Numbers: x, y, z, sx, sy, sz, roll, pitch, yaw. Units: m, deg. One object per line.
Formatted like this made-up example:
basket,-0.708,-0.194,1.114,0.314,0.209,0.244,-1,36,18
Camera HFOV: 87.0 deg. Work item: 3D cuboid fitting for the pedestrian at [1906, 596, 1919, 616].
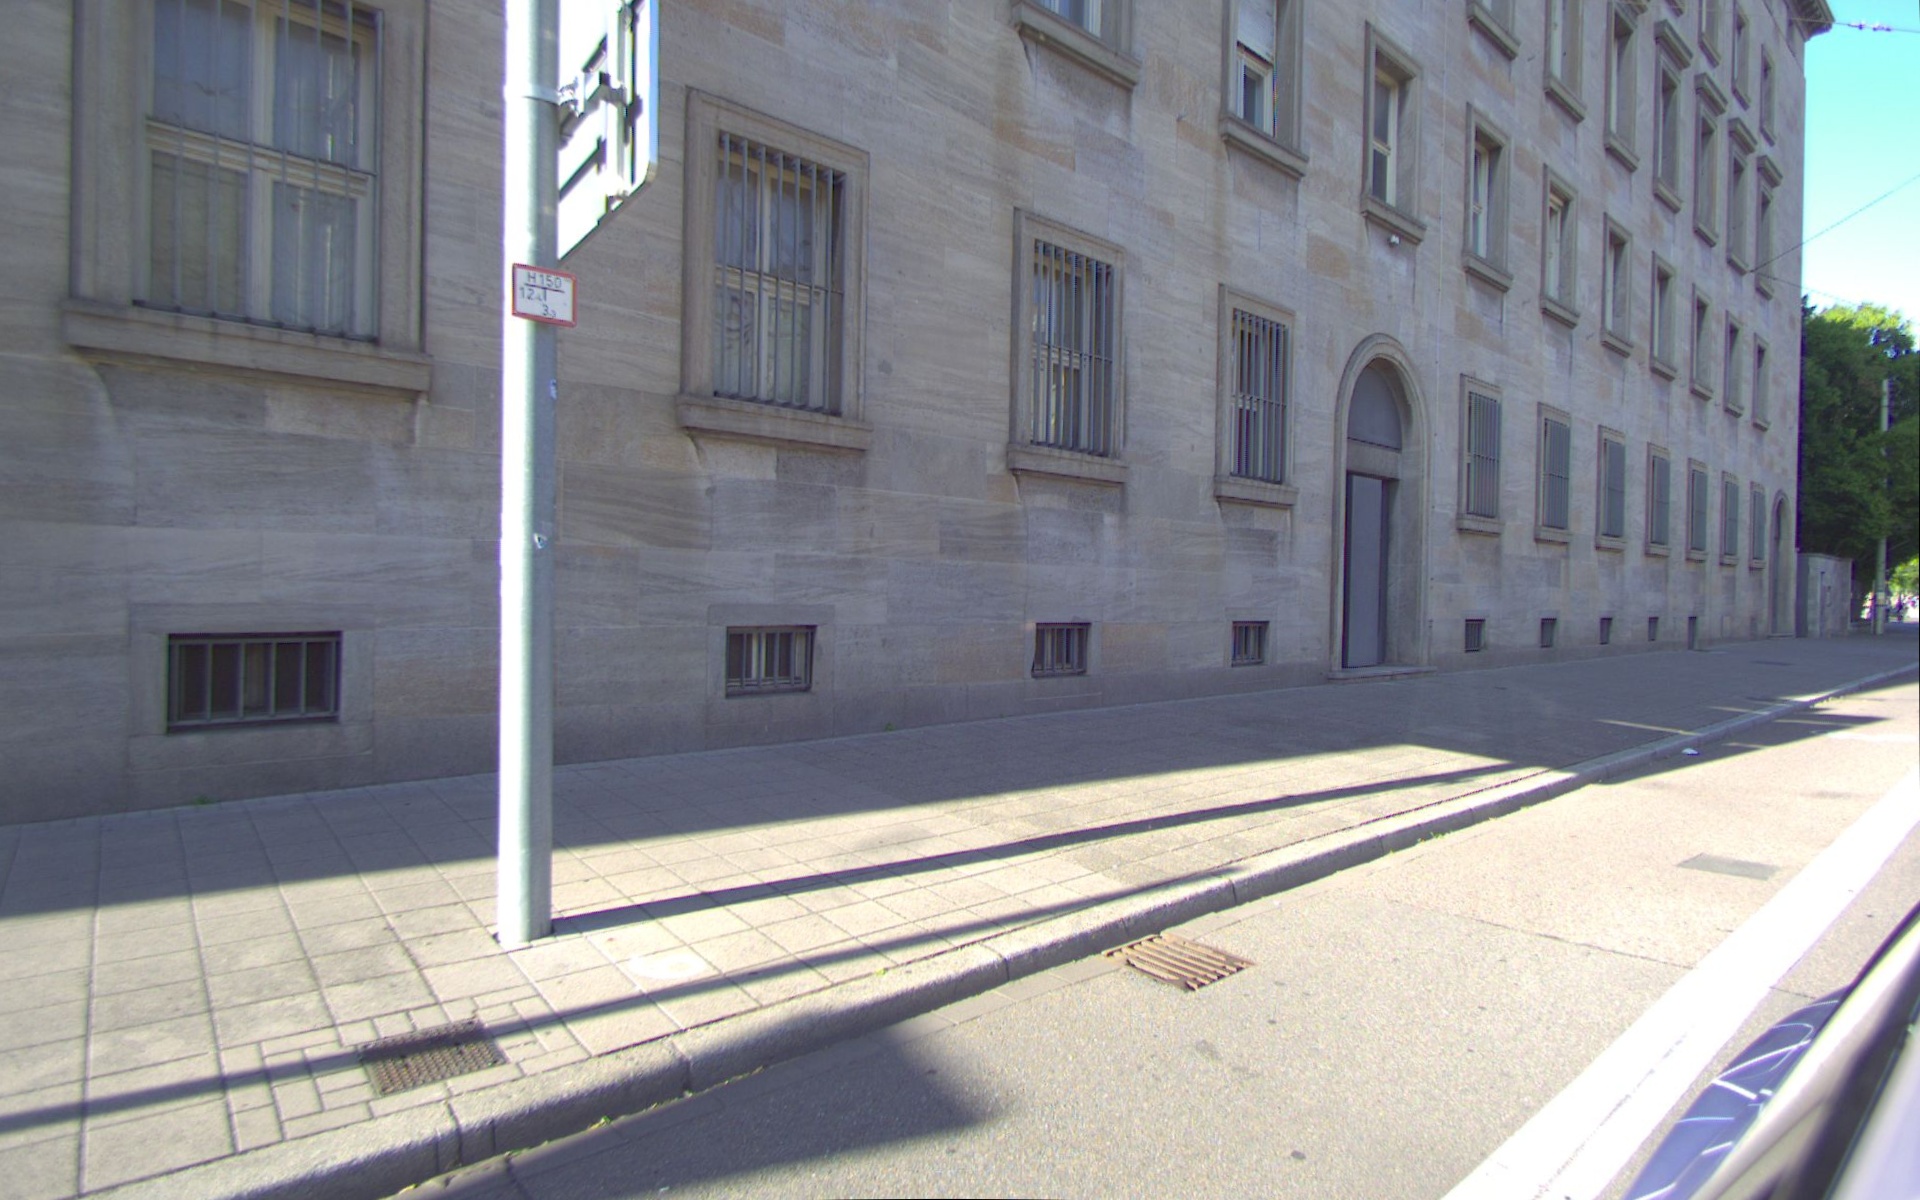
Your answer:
pedestrian,85.723,0.510,91.023,0.791,1.742,0.870,0,1,-44

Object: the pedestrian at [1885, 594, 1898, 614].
pedestrian,84.774,0.379,92.143,0.828,1.742,0.792,2,1,43

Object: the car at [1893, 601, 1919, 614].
car,122.073,0.947,130.365,1.863,1.621,4.376,2,1,32
